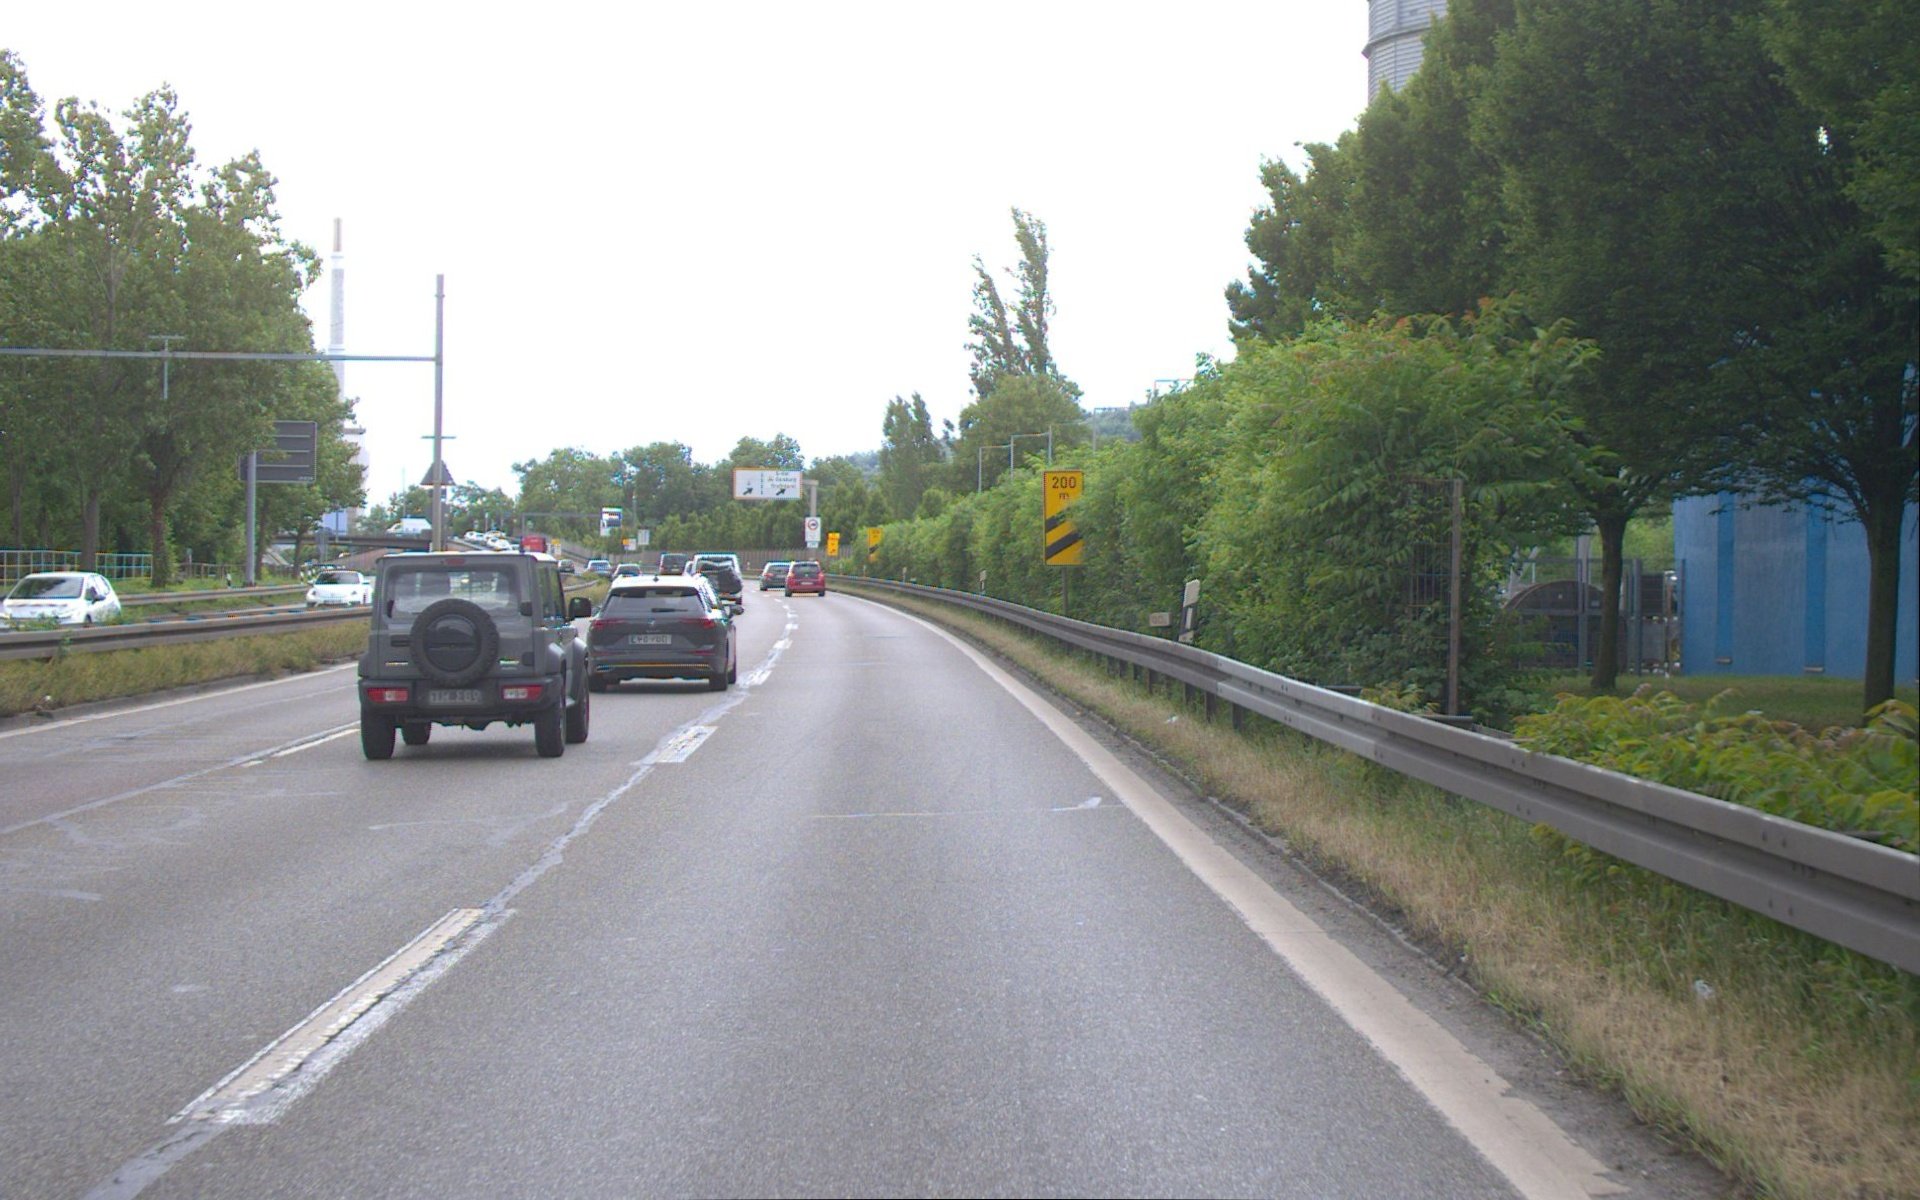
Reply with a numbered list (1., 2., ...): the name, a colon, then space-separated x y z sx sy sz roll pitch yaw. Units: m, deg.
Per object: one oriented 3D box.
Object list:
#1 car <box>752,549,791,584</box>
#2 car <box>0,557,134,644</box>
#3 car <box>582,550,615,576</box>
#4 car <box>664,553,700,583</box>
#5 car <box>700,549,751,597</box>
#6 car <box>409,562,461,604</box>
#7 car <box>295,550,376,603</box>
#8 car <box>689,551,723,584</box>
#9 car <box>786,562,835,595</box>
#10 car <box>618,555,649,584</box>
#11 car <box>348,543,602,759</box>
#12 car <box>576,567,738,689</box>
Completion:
1. car: -9.614 -1.696 174.743 1.697 1.736 4.394 0 0 -7
2. car: -17.538 -0.018 67.202 1.697 1.599 4.538 -1 1 -1
3. car: -26.556 -2.709 252.426 2.013 1.927 4.902 0 1 -11
4. car: -18.186 -2.070 224.850 2.013 1.927 4.902 0 1 -9
5. car: -8.543 -0.997 125.514 1.697 1.736 4.000 0 1 -2
6. car: -22.344 -0.736 146.460 1.726 1.769 3.742 0 1 -1
7. car: -20.072 -0.780 110.644 1.866 1.669 4.719 -1 1 -2
8. car: -15.315 -1.972 207.083 2.013 1.927 4.901 0 1 -5
9. car: -6.594 -0.948 151.305 1.974 1.418 4.901 0 1 -5
10. car: -19.988 -1.890 210.239 1.697 1.736 4.394 -1 1 -7
11. car: -4.040 0.372 29.164 1.697 1.680 4.001 0 1 -2
12. car: -3.812 0.312 43.878 1.844 1.418 4.901 1 1 -3
